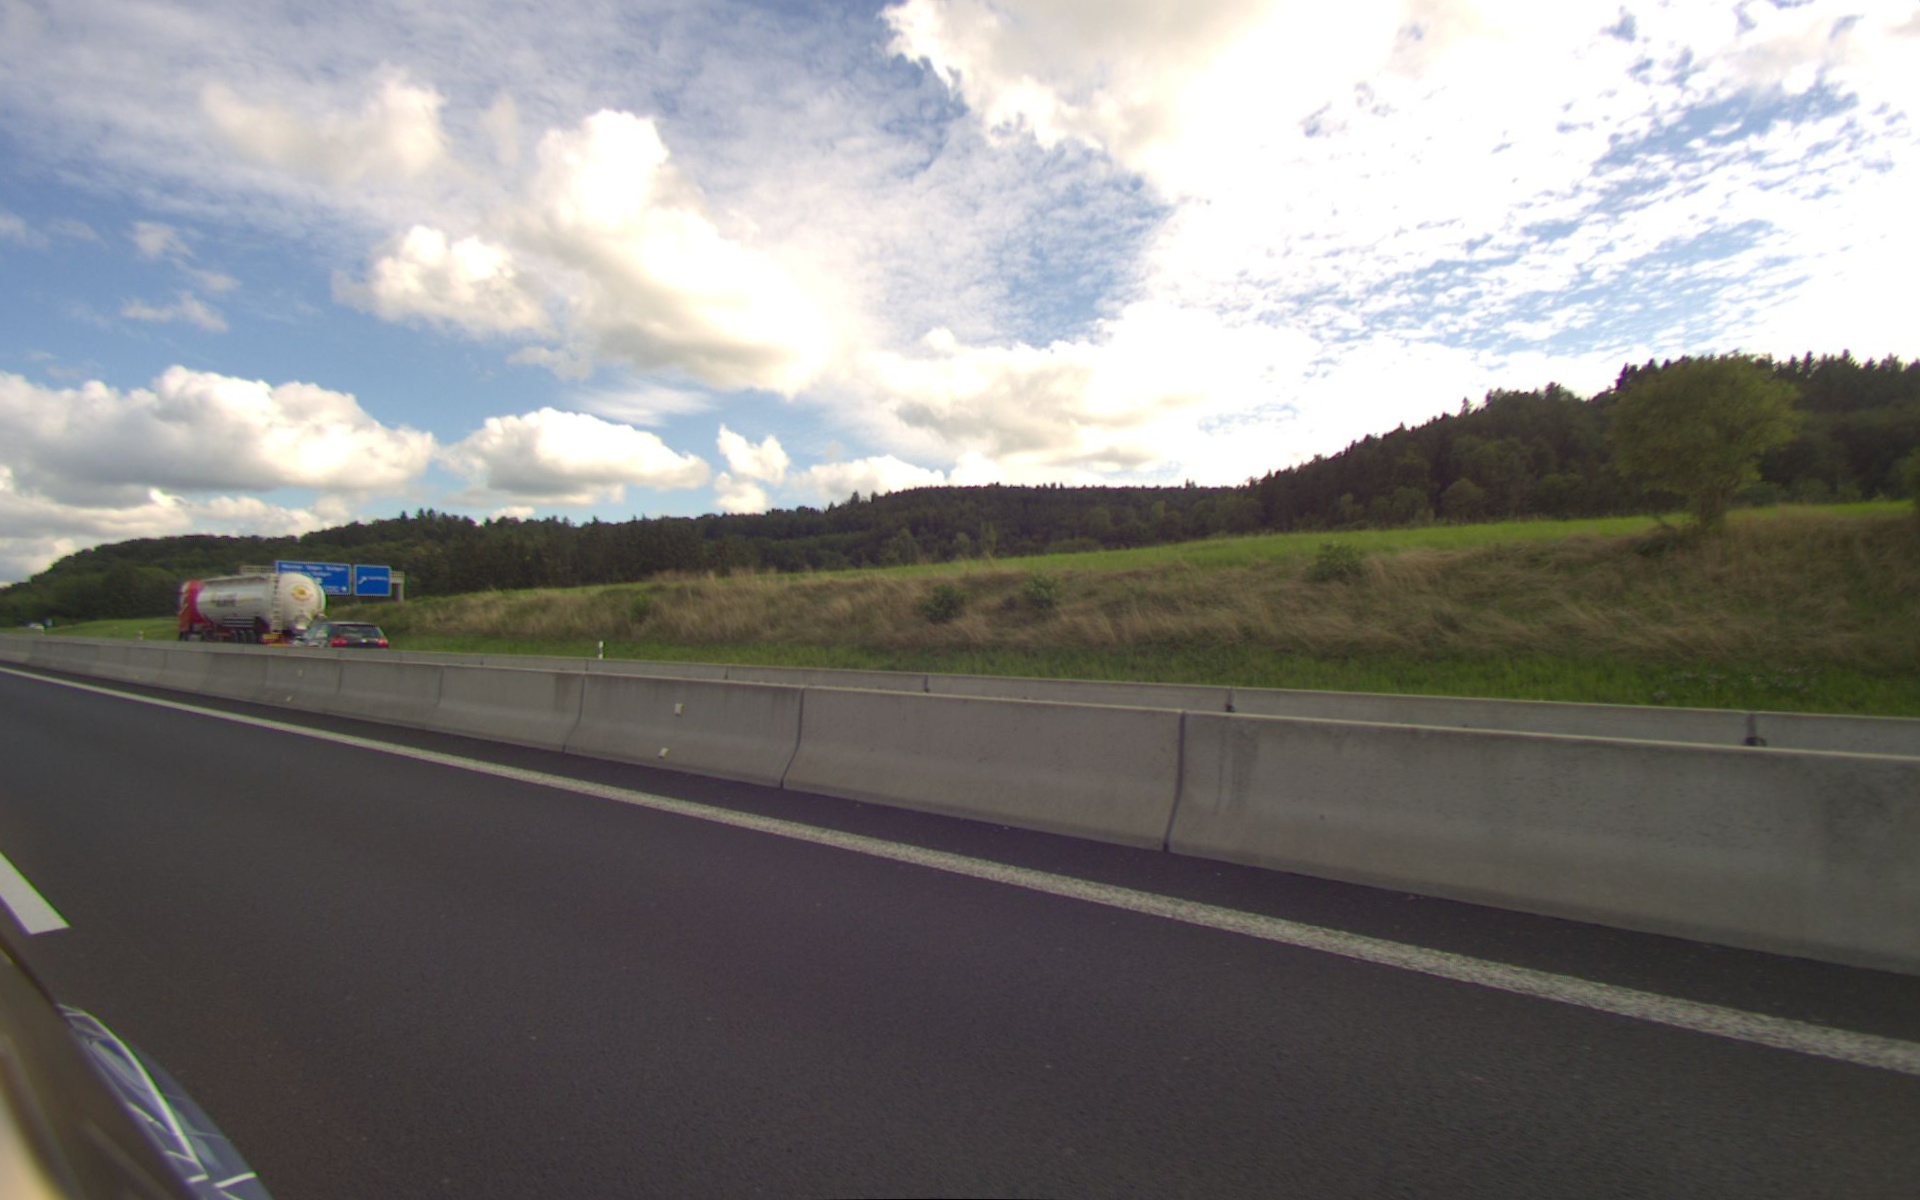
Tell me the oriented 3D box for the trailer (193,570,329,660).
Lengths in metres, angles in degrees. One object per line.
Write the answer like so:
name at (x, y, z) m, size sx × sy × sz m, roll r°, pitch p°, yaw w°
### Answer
trailer at (-33.773, 0.779, 48.624) m, size 11.156 × 3.916 × 2.685 m, roll -1°, pitch -3°, yaw 42°

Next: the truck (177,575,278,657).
truck at (-37.898, 0.858, 52.275) m, size 6.898 × 3.954 × 2.709 m, roll -1°, pitch -3°, yaw 41°

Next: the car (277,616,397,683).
car at (-18.608, 1.430, 30.153) m, size 4.394 × 1.846 × 1.788 m, roll -1°, pitch -3°, yaw 41°
